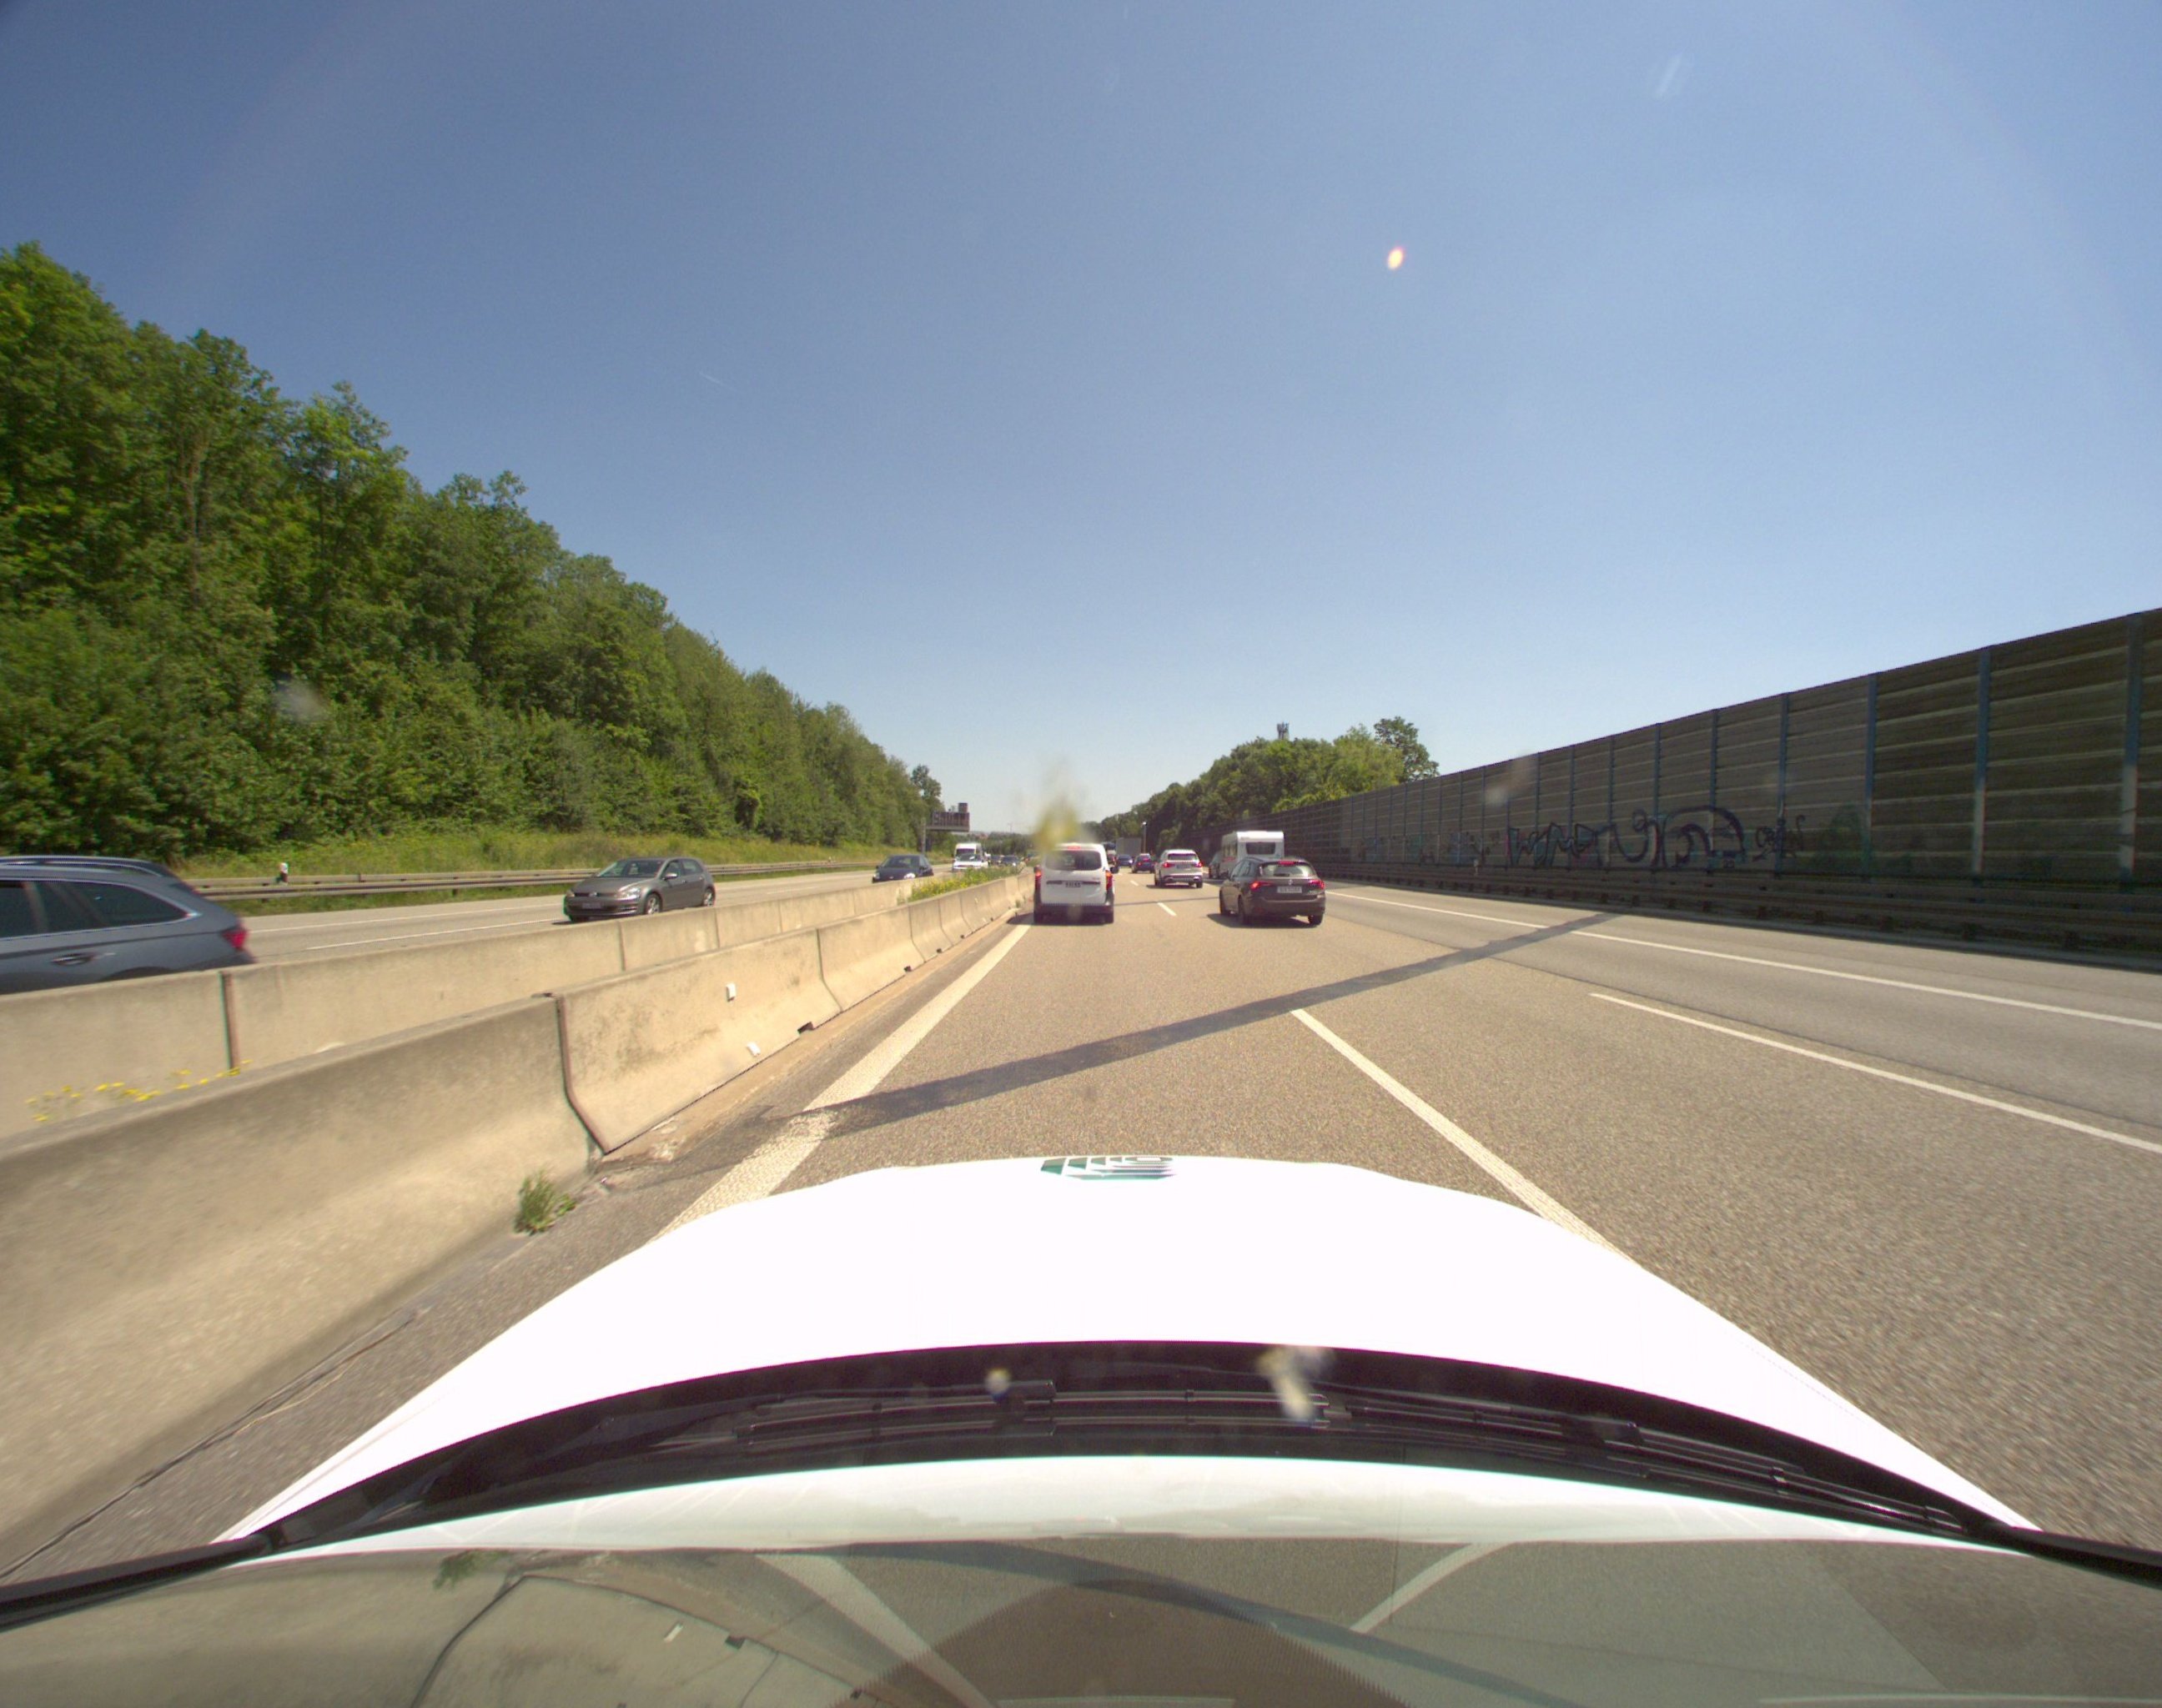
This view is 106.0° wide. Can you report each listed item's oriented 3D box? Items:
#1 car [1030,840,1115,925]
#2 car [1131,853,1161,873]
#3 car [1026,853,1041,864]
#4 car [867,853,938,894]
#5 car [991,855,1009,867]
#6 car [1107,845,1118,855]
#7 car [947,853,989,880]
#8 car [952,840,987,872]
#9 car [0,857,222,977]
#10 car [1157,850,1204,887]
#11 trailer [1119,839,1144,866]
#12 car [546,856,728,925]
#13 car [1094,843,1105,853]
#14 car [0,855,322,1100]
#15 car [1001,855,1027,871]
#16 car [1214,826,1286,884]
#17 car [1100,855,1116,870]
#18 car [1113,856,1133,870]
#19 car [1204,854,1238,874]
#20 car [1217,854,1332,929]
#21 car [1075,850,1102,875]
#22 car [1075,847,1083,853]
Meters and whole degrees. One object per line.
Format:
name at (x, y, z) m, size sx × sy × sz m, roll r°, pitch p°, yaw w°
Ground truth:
car at (-0.104, 0.613, 19.521) m, size 1.795 × 1.808 × 4.003 m, roll -1°, pitch 0°, yaw 3°
car at (4.900, 0.654, 61.720) m, size 1.819 × 1.424 × 3.997 m, roll 0°, pitch 0°, yaw -2°
car at (-7.292, 0.658, 125.461) m, size 1.987 × 1.724 × 4.357 m, roll 0°, pitch 0°, yaw 1°
car at (-6.509, 0.681, 30.108) m, size 1.659 × 1.428 × 3.858 m, roll 0°, pitch 0°, yaw 2°
car at (-10.104, 0.860, 101.928) m, size 1.807 × 1.402 × 4.271 m, roll 0°, pitch 0°, yaw 1°
car at (6.097, -0.780, 157.967) m, size 1.988 × 2.013 × 3.998 m, roll -1°, pitch 0°, yaw -1°
car at (-6.706, 0.734, 48.700) m, size 1.797 × 1.527 × 4.258 m, roll 0°, pitch 0°, yaw 2°
car at (-10.023, 0.192, 73.397) m, size 2.208 × 2.701 × 6.063 m, roll 0°, pitch 0°, yaw 1°
car at (-14.406, 0.796, 10.310) m, size 1.986 × 1.481 × 4.693 m, roll -1°, pitch 0°, yaw 2°
car at (4.436, 0.608, 36.783) m, size 1.863 × 1.608 × 3.881 m, roll 0°, pitch 0°, yaw 3°
trailer at (7.739, -0.139, 126.063) m, size 3.073 × 3.985 × 10.316 m, roll 0°, pitch 0°, yaw -2°
car at (-10.193, 0.778, 19.130) m, size 1.835 × 1.420 × 4.235 m, roll 0°, pitch 0°, yaw 2°
car at (4.023, -1.301, 174.915) m, size 1.991 × 2.013 × 3.992 m, roll -1°, pitch 0°, yaw -5°
car at (-7.074, 0.725, 4.308) m, size 1.725 × 1.405 × 4.612 m, roll -1°, pitch 0°, yaw 1°
car at (-5.986, 0.757, 73.201) m, size 1.868 × 1.410 × 4.413 m, roll 0°, pitch 0°, yaw 1°
car at (8.665, 0.054, 42.366) m, size 2.470 × 2.766 × 6.219 m, roll 0°, pitch 0°, yaw 0°
car at (3.641, 1.173, 110.155) m, size 1.819 × 1.989 × 3.997 m, roll -1°, pitch 0°, yaw -2°
car at (4.389, 0.930, 85.332) m, size 1.819 × 1.424 × 3.997 m, roll 0°, pitch 0°, yaw -2°
car at (10.591, 0.740, 61.921) m, size 1.818 × 1.424 × 3.998 m, roll 0°, pitch 0°, yaw -1°
car at (4.344, 0.775, 18.925) m, size 1.831 × 1.513 × 4.405 m, roll 0°, pitch 0°, yaw 3°
car at (0.590, 0.646, 64.441) m, size 1.988 × 1.860 × 3.997 m, roll 0°, pitch 0°, yaw -2°
car at (-0.604, -1.279, 238.889) m, size 1.990 × 1.728 × 3.994 m, roll -1°, pitch 0°, yaw -4°
